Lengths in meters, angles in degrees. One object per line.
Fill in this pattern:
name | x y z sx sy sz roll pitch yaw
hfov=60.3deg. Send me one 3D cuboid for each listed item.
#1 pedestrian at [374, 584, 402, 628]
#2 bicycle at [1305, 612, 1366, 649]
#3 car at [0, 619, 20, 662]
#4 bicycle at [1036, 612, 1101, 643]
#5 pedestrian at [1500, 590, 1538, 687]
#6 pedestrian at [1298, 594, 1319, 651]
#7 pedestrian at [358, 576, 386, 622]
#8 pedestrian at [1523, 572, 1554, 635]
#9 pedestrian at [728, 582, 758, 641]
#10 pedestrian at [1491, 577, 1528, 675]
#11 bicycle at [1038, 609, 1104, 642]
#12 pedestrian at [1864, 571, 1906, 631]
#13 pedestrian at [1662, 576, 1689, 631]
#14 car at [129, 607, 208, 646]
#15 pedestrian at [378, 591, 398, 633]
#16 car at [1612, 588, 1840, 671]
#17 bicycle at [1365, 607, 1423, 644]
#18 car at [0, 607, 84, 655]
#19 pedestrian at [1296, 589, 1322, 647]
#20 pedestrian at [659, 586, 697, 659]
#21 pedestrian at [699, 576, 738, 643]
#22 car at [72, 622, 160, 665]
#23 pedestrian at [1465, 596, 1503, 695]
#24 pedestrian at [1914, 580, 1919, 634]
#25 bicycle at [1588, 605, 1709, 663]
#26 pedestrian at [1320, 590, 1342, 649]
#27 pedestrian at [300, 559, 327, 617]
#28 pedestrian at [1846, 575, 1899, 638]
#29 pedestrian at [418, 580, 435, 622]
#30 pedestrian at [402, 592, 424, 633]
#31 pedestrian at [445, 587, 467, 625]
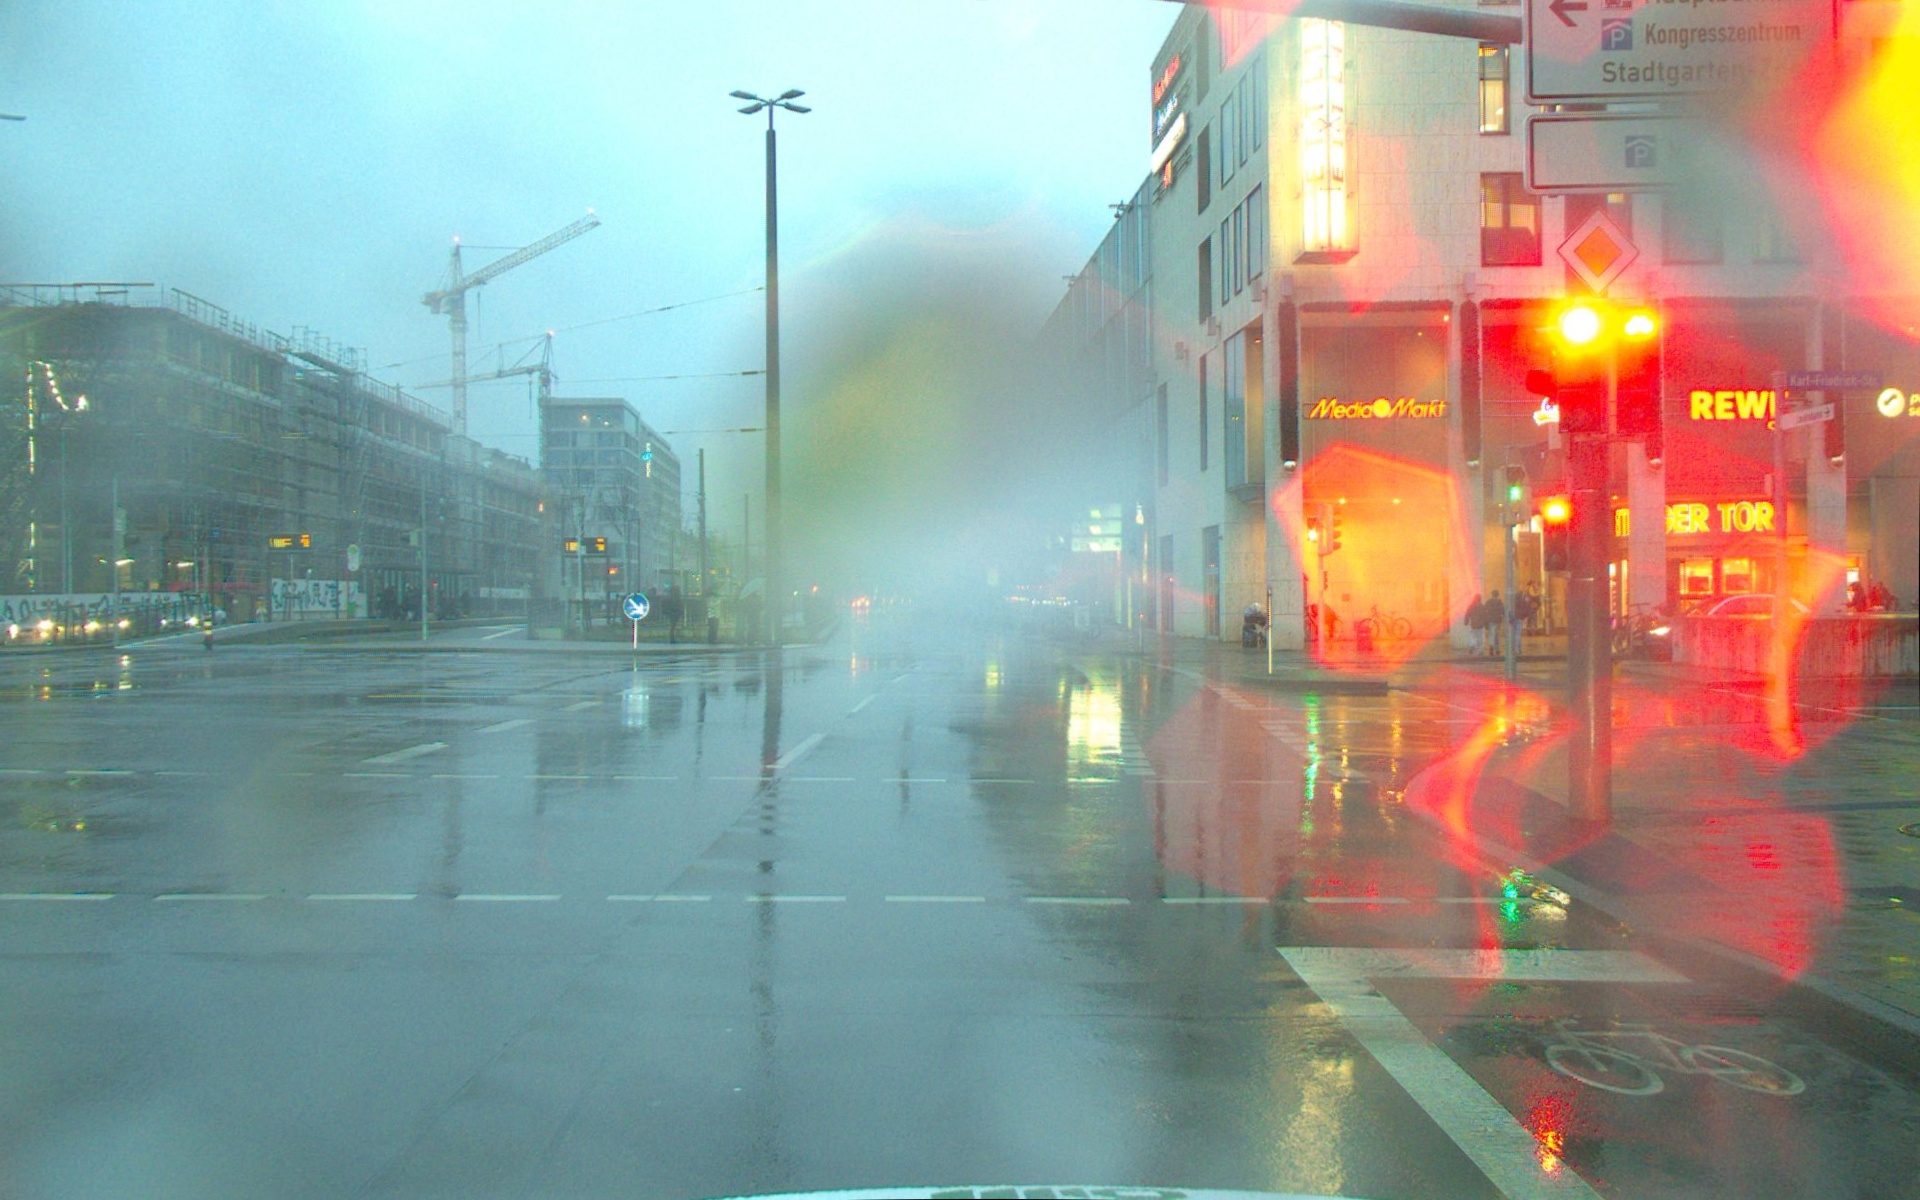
pedestrian | -26.963 0.272 78.018 0.923 2.049 1.093 1 -1 -3
bicycle | 11.545 0.933 50.830 1.734 1.088 0.524 1 -1 -8
car | -36.406 1.517 60.542 2.038 1.557 4.604 -1 0 -10
bicycle | 4.085 1.024 62.370 2.376 1.118 0.711 -1 -1 -3
pedestrian | 14.557 1.002 43.053 0.679 2.491 0.791 1 -1 -1
pedestrian | 10.365 0.674 49.206 0.476 1.692 0.457 -1 -1 30
pedestrian | -26.825 -0.042 75.438 0.923 2.049 1.093 1 -1 -4
pedestrian | 19.064 0.121 54.497 0.828 2.049 0.698 -1 0 8
pedestrian | -6.278 0.331 47.873 0.601 1.715 0.575 0 -1 41
pedestrian | 14.110 0.652 42.494 0.675 2.484 0.758 1 -1 -1
bicycle | 4.118 0.946 61.626 2.393 1.174 0.674 -1 -1 -2
pedestrian | 26.870 0.026 48.044 0.875 1.714 0.528 -1 -1 -1
pedestrian | 23.103 0.112 53.393 0.721 1.748 0.738 -1 -1 27
car | -37.916 1.245 79.315 1.953 1.822 3.998 1 0 -2
pedestrian | -26.478 0.543 76.550 0.684 1.913 0.553 1 -1 -2
car | 16.198 0.621 35.117 3.905 1.646 2.000 1 0 0
bicycle | 13.385 0.782 51.022 1.614 1.088 0.524 1 -1 -5
car | -37.214 1.228 66.849 1.830 1.860 3.993 1 0 -8
pedestrian | 10.416 0.534 49.421 0.624 1.739 0.573 -1 0 -2
pedestrian | -8.042 0.637 47.242 0.771 2.049 0.724 0 -1 41
pedestrian | -6.786 0.265 46.422 0.813 1.863 0.777 1 -1 -31
car | -37.603 1.906 73.765 1.953 1.822 3.998 1 0 -2
pedestrian | 13.381 1.160 42.281 0.700 2.484 0.758 1 -1 -1
pedestrian | 27.178 0.202 46.371 0.573 1.520 0.519 0 -1 2
bicycle | 17.200 0.838 41.354 2.659 1.383 0.957 -1 -1 -4
pedestrian | 11.276 0.582 50.268 0.587 1.775 0.525 1 -1 7
pedestrian | -26.736 -0.494 68.391 0.750 2.364 0.762 1 -2 -1
pedestrian | 25.383 0.172 46.015 1.009 1.713 0.824 1 -1 -1
pedestrian | -25.936 0.051 80.437 0.559 2.002 0.664 2 -1 -7
pedestrian | -25.985 0.605 78.574 0.750 1.931 0.762 1 -2 -1
pedestrian | -27.711 0.313 90.941 0.924 2.049 1.092 1 -1 -9
